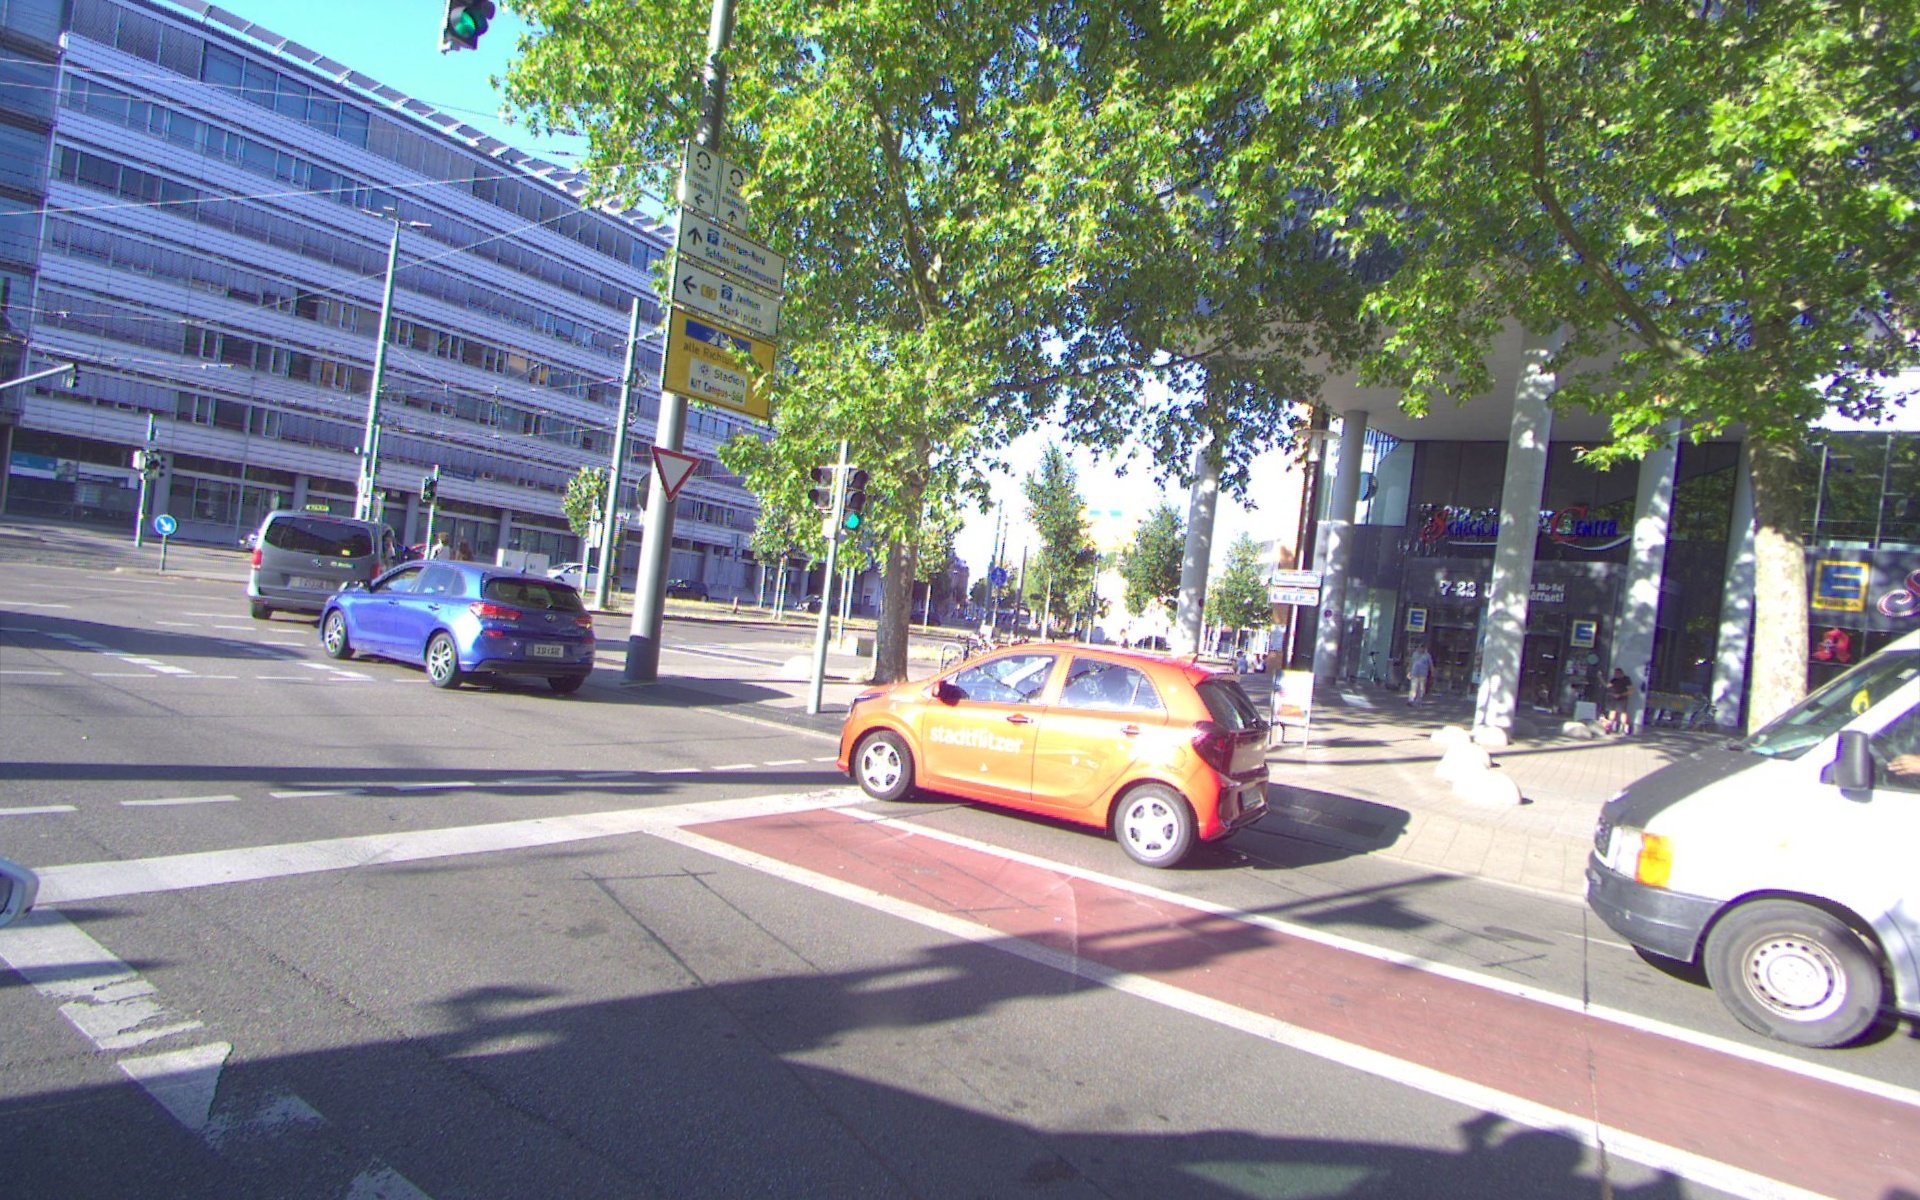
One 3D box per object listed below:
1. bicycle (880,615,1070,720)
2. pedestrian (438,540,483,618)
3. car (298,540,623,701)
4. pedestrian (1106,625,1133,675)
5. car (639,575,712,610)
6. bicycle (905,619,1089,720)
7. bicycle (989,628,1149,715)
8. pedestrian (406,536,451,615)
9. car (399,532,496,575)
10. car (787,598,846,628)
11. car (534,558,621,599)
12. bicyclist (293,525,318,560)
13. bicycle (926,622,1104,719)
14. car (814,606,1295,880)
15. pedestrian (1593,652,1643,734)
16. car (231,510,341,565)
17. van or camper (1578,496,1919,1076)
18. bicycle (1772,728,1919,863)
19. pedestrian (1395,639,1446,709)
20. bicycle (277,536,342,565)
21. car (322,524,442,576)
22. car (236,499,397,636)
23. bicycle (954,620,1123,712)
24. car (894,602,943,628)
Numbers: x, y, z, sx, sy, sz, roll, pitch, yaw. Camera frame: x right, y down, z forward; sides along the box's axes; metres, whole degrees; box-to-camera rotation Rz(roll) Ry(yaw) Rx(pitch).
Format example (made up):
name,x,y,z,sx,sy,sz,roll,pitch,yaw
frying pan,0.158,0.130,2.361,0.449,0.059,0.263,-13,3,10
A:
name,x,y,z,sx,sy,sz,roll,pitch,yaw
bicycle,0.194,1.023,15.711,2.896,1.252,0.705,6,-1,31
pedestrian,-12.123,-0.520,24.407,0.680,1.781,0.734,6,1,-38
car,-6.456,0.233,12.866,4.144,1.476,1.750,7,-1,33
pedestrian,5.514,1.726,34.721,0.569,1.612,0.595,7,0,32
car,-18.040,-0.453,63.925,1.852,1.614,4.121,6,-2,35
bicycle,0.554,1.101,16.321,2.896,1.243,0.686,6,-1,31
bicycle,2.028,1.325,19.063,2.896,1.253,0.704,6,0,31
pedestrian,-12.674,-0.589,23.966,0.674,1.781,0.734,6,1,-38
car,-26.379,-2.380,51.854,1.769,1.569,3.990,6,-2,36
car,-10.448,0.966,73.559,1.852,1.614,4.121,6,-2,35
car,-20.870,-1.167,55.026,1.852,1.614,3.991,6,-2,35
bicyclist,-30.132,-2.637,46.292,0.604,1.521,0.663,7,1,37
bicycle,0.884,1.171,16.975,2.897,1.252,0.705,6,-1,32
car,0.712,1.035,8.320,3.537,1.476,1.493,7,-1,31
pedestrian,17.530,2.484,26.783,0.847,2.037,1.021,6,-1,38
car,-33.701,-3.082,50.395,1.967,2.037,3.995,6,-2,32
van or camper,6.672,1.155,4.517,6.391,2.647,2.002,7,0,32
bicycle,10.800,2.195,10.289,3.759,1.234,0.756,5,-2,38
pedestrian,13.568,2.173,29.657,0.800,1.913,0.871,5,1,-16
bicycle,-30.025,-2.269,46.477,0.627,1.035,2.410,7,0,36
car,-26.322,-2.247,45.945,1.854,1.744,4.256,7,0,34
car,-11.437,-0.598,18.166,1.986,1.919,4.844,8,-1,-30
bicycle,1.351,1.137,17.867,2.896,1.254,0.696,6,2,31
car,-3.477,1.285,84.738,1.852,1.614,4.121,6,-2,35
